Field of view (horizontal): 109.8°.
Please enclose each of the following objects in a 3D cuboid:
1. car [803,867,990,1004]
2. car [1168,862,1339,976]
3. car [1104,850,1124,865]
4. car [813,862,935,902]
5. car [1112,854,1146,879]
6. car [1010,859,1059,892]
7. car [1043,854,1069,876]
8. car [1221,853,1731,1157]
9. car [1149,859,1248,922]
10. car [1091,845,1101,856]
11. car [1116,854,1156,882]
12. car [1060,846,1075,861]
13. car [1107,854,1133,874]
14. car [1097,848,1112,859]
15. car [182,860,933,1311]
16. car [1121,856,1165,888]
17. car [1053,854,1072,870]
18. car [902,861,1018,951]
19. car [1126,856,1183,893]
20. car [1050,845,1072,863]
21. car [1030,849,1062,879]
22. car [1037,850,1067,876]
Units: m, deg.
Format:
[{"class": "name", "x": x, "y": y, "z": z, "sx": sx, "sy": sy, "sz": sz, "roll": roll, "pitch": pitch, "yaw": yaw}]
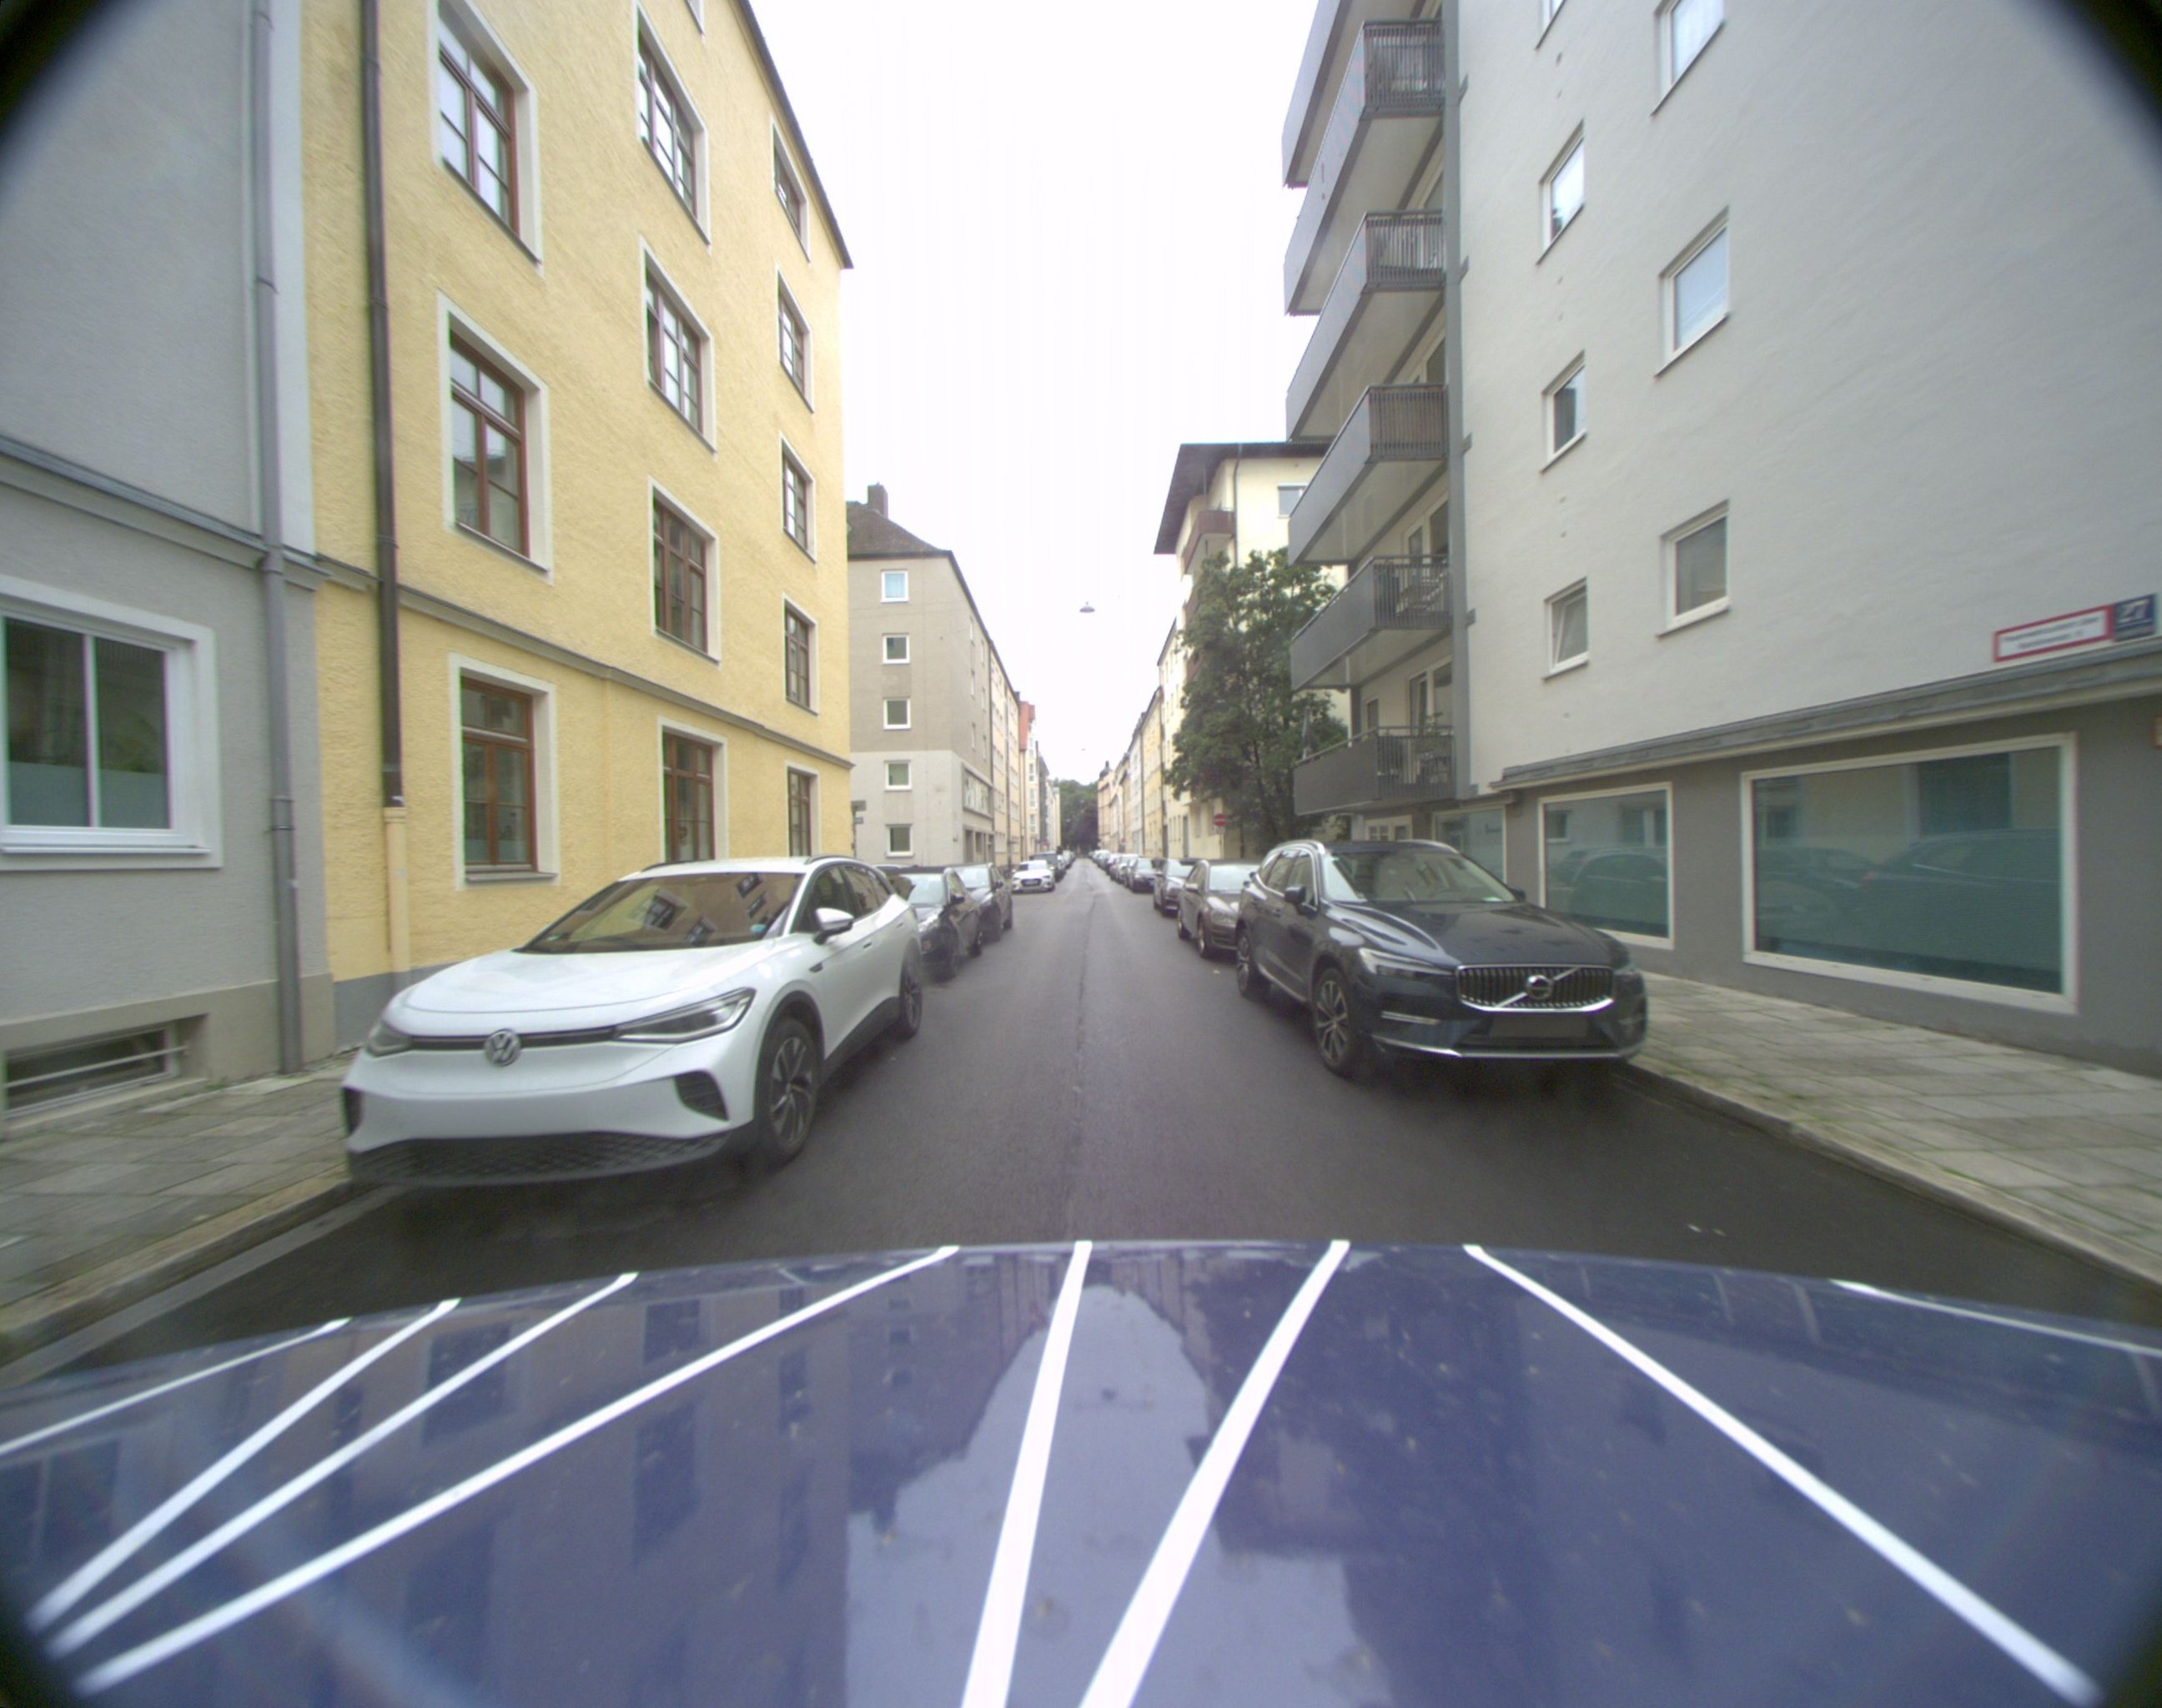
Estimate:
[{"class": "car", "x": -2.423, "y": 1.004, "z": 10.962, "sx": 1.691, "sy": 1.496, "sz": 3.856, "roll": -1, "pitch": 1, "yaw": 0}, {"class": "car", "x": 2.585, "y": 0.898, "z": 12.435, "sx": 1.818, "sy": 1.433, "sz": 4.296, "roll": -1, "pitch": 1, "yaw": 0}, {"class": "car", "x": 3.298, "y": 0.366, "z": 76.751, "sx": 1.896, "sy": 1.444, "sz": 4.296, "roll": -1, "pitch": 1, "yaw": 0}, {"class": "car", "x": -7.865, "y": 1.045, "z": 29.176, "sx": 4.161, "sy": 1.373, "sz": 1.972, "roll": -1, "pitch": 1, "yaw": -4}, {"class": "car", "x": 3.000, "y": 0.735, "z": 48.223, "sx": 1.896, "sy": 1.444, "sz": 4.296, "roll": -1, "pitch": 1, "yaw": 0}, {"class": "car", "x": -2.078, "y": 0.949, "z": 35.190, "sx": 1.972, "sy": 1.369, "sz": 4.296, "roll": -1, "pitch": 1, "yaw": 0}, {"class": "car", "x": -1.954, "y": 0.831, "z": 60.710, "sx": 1.896, "sy": 1.621, "sz": 4.296, "roll": -1, "pitch": 1, "yaw": 0}, {"class": "car", "x": 2.589, "y": 0.832, "z": 6.437, "sx": 1.972, "sy": 1.597, "sz": 4.540, "roll": -1, "pitch": 1, "yaw": 0}, {"class": "car", "x": 2.978, "y": 0.889, "z": 20.189, "sx": 1.972, "sy": 1.391, "sz": 4.296, "roll": -1, "pitch": 1, "yaw": 0}, {"class": "car", "x": 3.000, "y": -0.709, "z": 150.600, "sx": 1.998, "sy": 2.002, "sz": 4.000, "roll": -1, "pitch": 0, "yaw": 1}, {"class": "car", "x": 3.031, "y": 0.734, "z": 42.644, "sx": 1.896, "sy": 1.444, "sz": 4.296, "roll": -1, "pitch": 1, "yaw": 0}, {"class": "car", "x": -1.913, "y": -0.097, "z": 109.515, "sx": 1.998, "sy": 2.002, "sz": 4.000, "roll": -1, "pitch": 0, "yaw": 1}, {"class": "car", "x": 3.048, "y": 0.769, "z": 60.315, "sx": 1.896, "sy": 1.444, "sz": 4.296, "roll": -1, "pitch": 1, "yaw": 0}, {"class": "car", "x": 3.068, "y": -0.084, "z": 101.408, "sx": 1.896, "sy": 1.444, "sz": 4.296, "roll": -1, "pitch": 1, "yaw": 0}, {"class": "car", "x": -2.483, "y": 0.927, "z": 5.240, "sx": 1.966, "sy": 1.665, "sz": 4.541, "roll": -1, "pitch": 1, "yaw": 0}, {"class": "car", "x": 2.973, "y": 0.846, "z": 37.211, "sx": 1.769, "sy": 1.369, "sz": 4.296, "roll": -1, "pitch": 1, "yaw": 0}, {"class": "car", "x": -1.969, "y": 0.828, "z": 81.516, "sx": 1.896, "sy": 1.621, "sz": 4.296, "roll": -1, "pitch": 1, "yaw": 0}, {"class": "car", "x": -2.313, "y": 0.948, "z": 15.456, "sx": 1.691, "sy": 1.496, "sz": 3.856, "roll": -1, "pitch": 1, "yaw": 0}, {"class": "car", "x": 2.996, "y": 0.810, "z": 31.681, "sx": 1.972, "sy": 1.369, "sz": 4.296, "roll": -1, "pitch": 1, "yaw": 0}, {"class": "car", "x": -1.889, "y": -0.036, "z": 72.858, "sx": 1.896, "sy": 1.621, "sz": 4.296, "roll": -1, "pitch": 1, "yaw": 0}, {"class": "car", "x": -2.262, "y": 0.637, "z": 50.179, "sx": 1.896, "sy": 1.859, "sz": 4.296, "roll": -1, "pitch": 1, "yaw": 0}, {"class": "car", "x": -2.045, "y": 0.634, "z": 54.983, "sx": 1.896, "sy": 1.751, "sz": 4.296, "roll": -1, "pitch": 1, "yaw": 0}]
